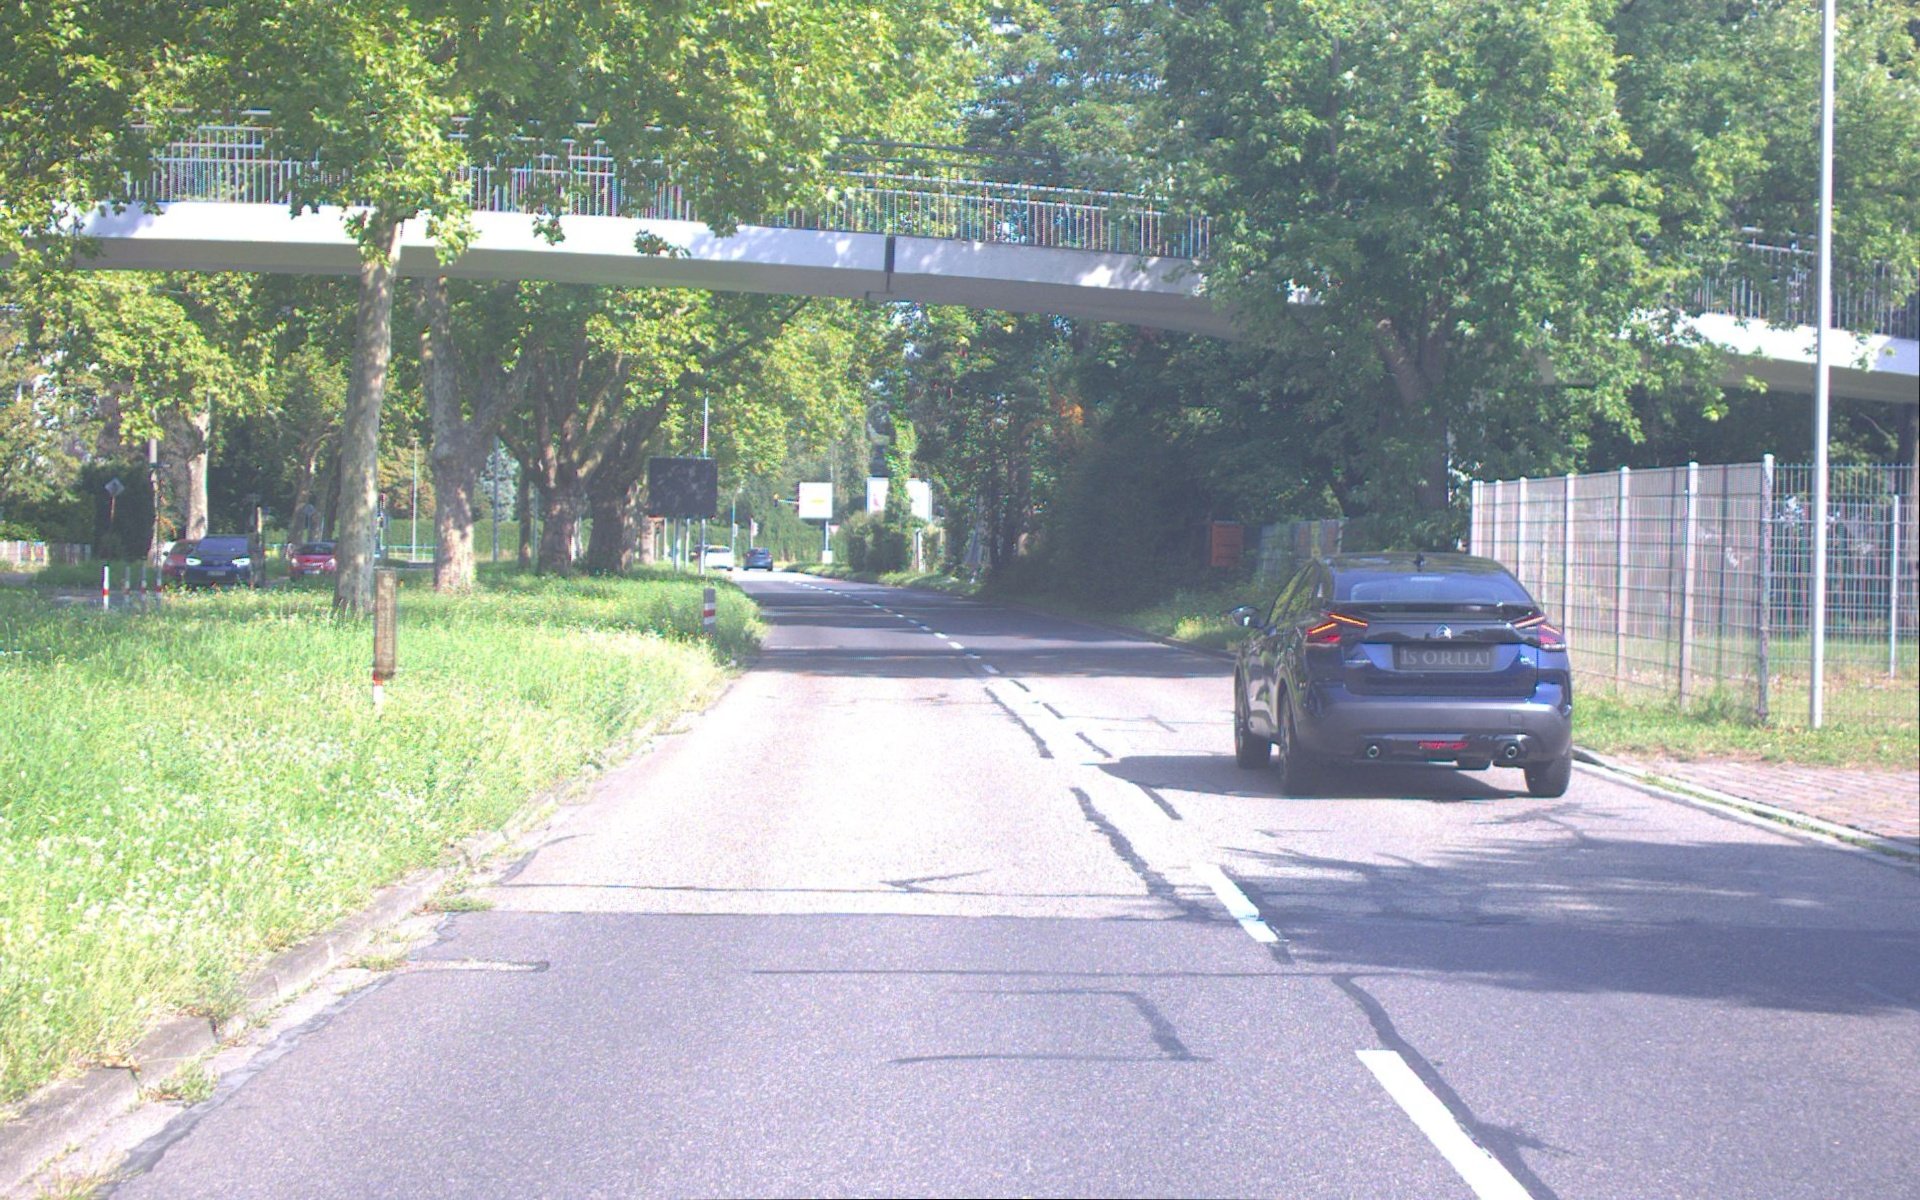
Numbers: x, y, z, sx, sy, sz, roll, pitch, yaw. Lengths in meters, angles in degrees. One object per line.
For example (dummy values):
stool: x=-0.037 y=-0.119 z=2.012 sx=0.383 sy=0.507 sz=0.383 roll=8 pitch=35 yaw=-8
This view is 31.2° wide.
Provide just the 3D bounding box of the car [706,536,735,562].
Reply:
car: x=-14.347 y=-3.054 z=205.690 sx=1.687 sy=1.457 sz=4.001 roll=2 pitch=1 yaw=-5

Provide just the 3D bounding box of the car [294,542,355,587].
car: x=-22.591 y=-1.281 z=122.310 sx=1.690 sy=1.527 sz=4.070 roll=1 pitch=1 yaw=-5

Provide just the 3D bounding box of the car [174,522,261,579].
car: x=-21.120 y=-1.423 z=97.978 sx=1.787 sy=1.527 sz=4.456 roll=2 pitch=1 yaw=-4

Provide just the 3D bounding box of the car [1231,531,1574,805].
car: x=2.804 y=0.368 z=22.616 sx=1.645 sy=1.583 sz=4.255 roll=2 pitch=1 yaw=0

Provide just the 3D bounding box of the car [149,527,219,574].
car: x=-24.964 y=-1.608 z=110.687 sx=1.538 sy=1.446 sz=4.065 roll=2 pitch=1 yaw=-4

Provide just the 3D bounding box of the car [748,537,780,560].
car: x=-12.441 y=-3.277 z=218.220 sx=1.797 sy=1.396 sz=4.001 roll=2 pitch=1 yaw=-6

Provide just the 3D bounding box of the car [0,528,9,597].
car: x=-22.016 y=-0.806 z=74.779 sx=1.522 sy=1.527 sz=3.864 roll=1 pitch=1 yaw=1
